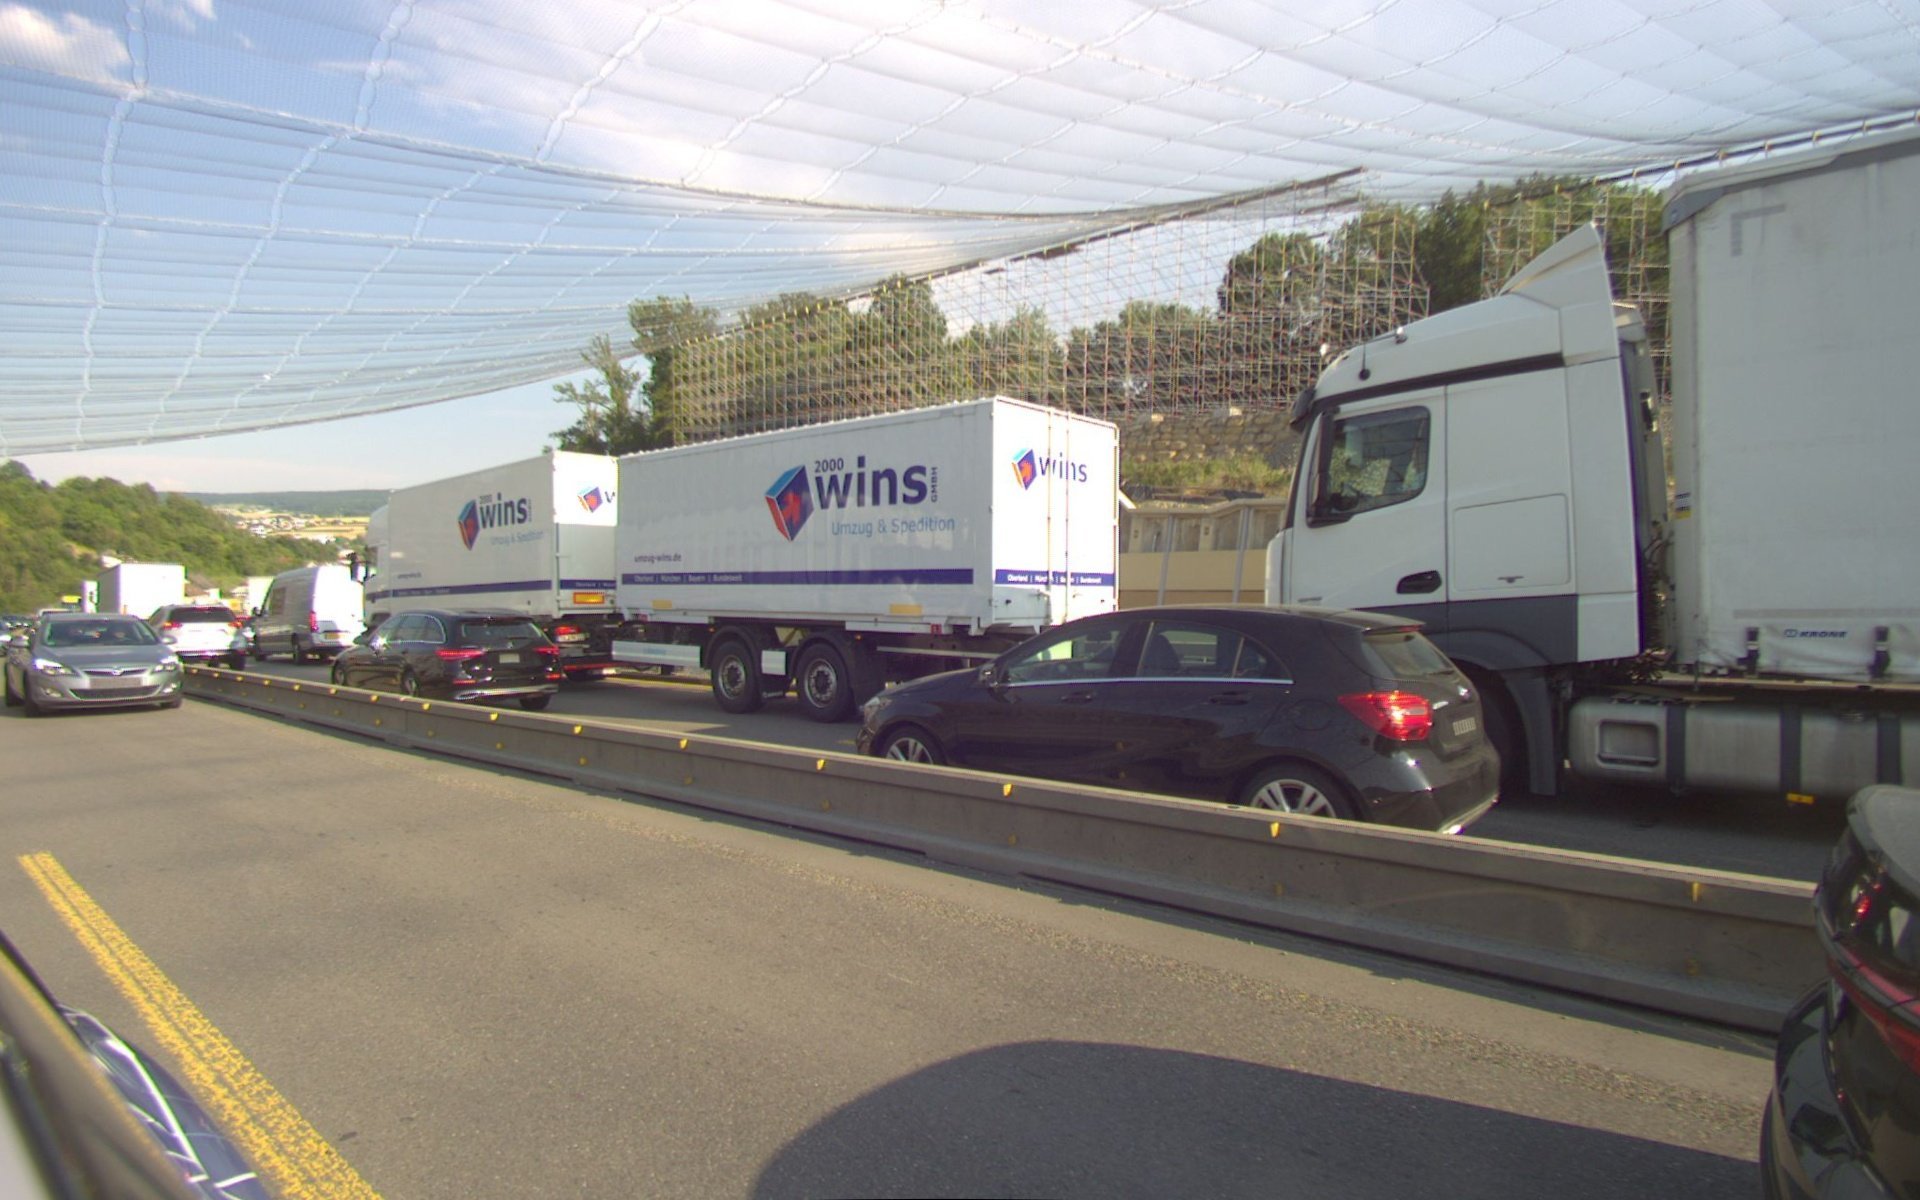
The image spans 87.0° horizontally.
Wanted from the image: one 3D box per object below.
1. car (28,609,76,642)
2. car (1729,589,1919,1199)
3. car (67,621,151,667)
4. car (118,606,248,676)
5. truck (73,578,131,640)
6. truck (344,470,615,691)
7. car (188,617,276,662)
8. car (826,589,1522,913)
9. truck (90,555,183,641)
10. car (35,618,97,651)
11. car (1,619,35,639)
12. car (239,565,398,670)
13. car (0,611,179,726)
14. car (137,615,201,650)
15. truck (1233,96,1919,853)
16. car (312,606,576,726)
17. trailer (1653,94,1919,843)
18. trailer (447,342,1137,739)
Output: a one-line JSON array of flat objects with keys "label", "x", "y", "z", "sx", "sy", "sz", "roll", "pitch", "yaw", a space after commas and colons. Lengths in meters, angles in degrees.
[{"label": "car", "x": -54.306, "y": 1.481, "z": 60.499, "sx": 5.283, "sy": 1.883, "sz": 1.788, "roll": -1, "pitch": 0, "yaw": 44}, {"label": "car", "x": 3.412, "y": 0.640, "z": 0.286, "sx": 4.958, "sy": 1.409, "sz": 1.914, "roll": -2, "pitch": -1, "yaw": 41}, {"label": "car", "x": -31.784, "y": 1.605, "z": 37.773, "sx": 4.364, "sy": 1.580, "sz": 1.789, "roll": -1, "pitch": 0, "yaw": 41}, {"label": "car", "x": -19.407, "y": 0.963, "z": 25.210, "sx": 4.364, "sy": 1.580, "sz": 1.789, "roll": -1, "pitch": 0, "yaw": 41}, {"label": "truck", "x": -69.895, "y": 0.746, "z": 82.244, "sx": 2.951, "sy": 4.593, "sz": 17.427, "roll": 0, "pitch": 0, "yaw": -42}, {"label": "truck", "x": -10.366, "y": -0.316, "z": 21.417, "sx": 7.202, "sy": 3.939, "sz": 2.603, "roll": -1, "pitch": 0, "yaw": 42}, {"label": "car", "x": -25.171, "y": 1.321, "z": 34.945, "sx": 4.382, "sy": 1.448, "sz": 1.772, "roll": -1, "pitch": 0, "yaw": 45}, {"label": "car", "x": 1.091, "y": 0.665, "z": 6.210, "sx": 3.897, "sy": 1.386, "sz": 1.591, "roll": -1, "pitch": 0, "yaw": 40}, {"label": "truck", "x": -45.843, "y": -0.034, "z": 56.091, "sx": 2.690, "sy": 4.259, "sz": 14.177, "roll": 0, "pitch": 0, "yaw": -44}, {"label": "car", "x": -41.482, "y": 1.568, "z": 46.923, "sx": 4.519, "sy": 1.430, "sz": 1.788, "roll": -1, "pitch": 0, "yaw": 44}, {"label": "car", "x": -76.715, "y": 2.372, "z": 82.379, "sx": 1.912, "sy": 1.546, "sz": 4.648, "roll": 0, "pitch": 0, "yaw": -45}, {"label": "car", "x": -18.925, "y": 0.488, "z": 29.673, "sx": 7.082, "sy": 2.733, "sz": 2.217, "roll": -1, "pitch": 0, "yaw": 43}, {"label": "car", "x": -13.360, "y": 0.926, "z": 15.417, "sx": 4.354, "sy": 1.484, "sz": 1.736, "roll": -1, "pitch": 0, "yaw": 45}, {"label": "car", "x": -37.672, "y": 1.501, "z": 48.153, "sx": 4.911, "sy": 1.552, "sz": 1.772, "roll": -1, "pitch": 0, "yaw": 45}, {"label": "truck", "x": 5.099, "y": -0.666, "z": 7.108, "sx": 5.613, "sy": 4.076, "sz": 2.448, "roll": -1, "pitch": -1, "yaw": 40}, {"label": "car", "x": -7.541, "y": 0.840, "z": 14.572, "sx": 4.660, "sy": 1.461, "sz": 1.759, "roll": -1, "pitch": 0, "yaw": 41}, {"label": "trailer", "x": 10.401, "y": -0.783, "z": 2.559, "sx": 14.086, "sy": 3.993, "sz": 2.403, "roll": -1, "pitch": 0, "yaw": 40}, {"label": "trailer", "x": -3.753, "y": -0.534, "z": 15.676, "sx": 13.325, "sy": 4.046, "sz": 2.642, "roll": -1, "pitch": 0, "yaw": 41}]
